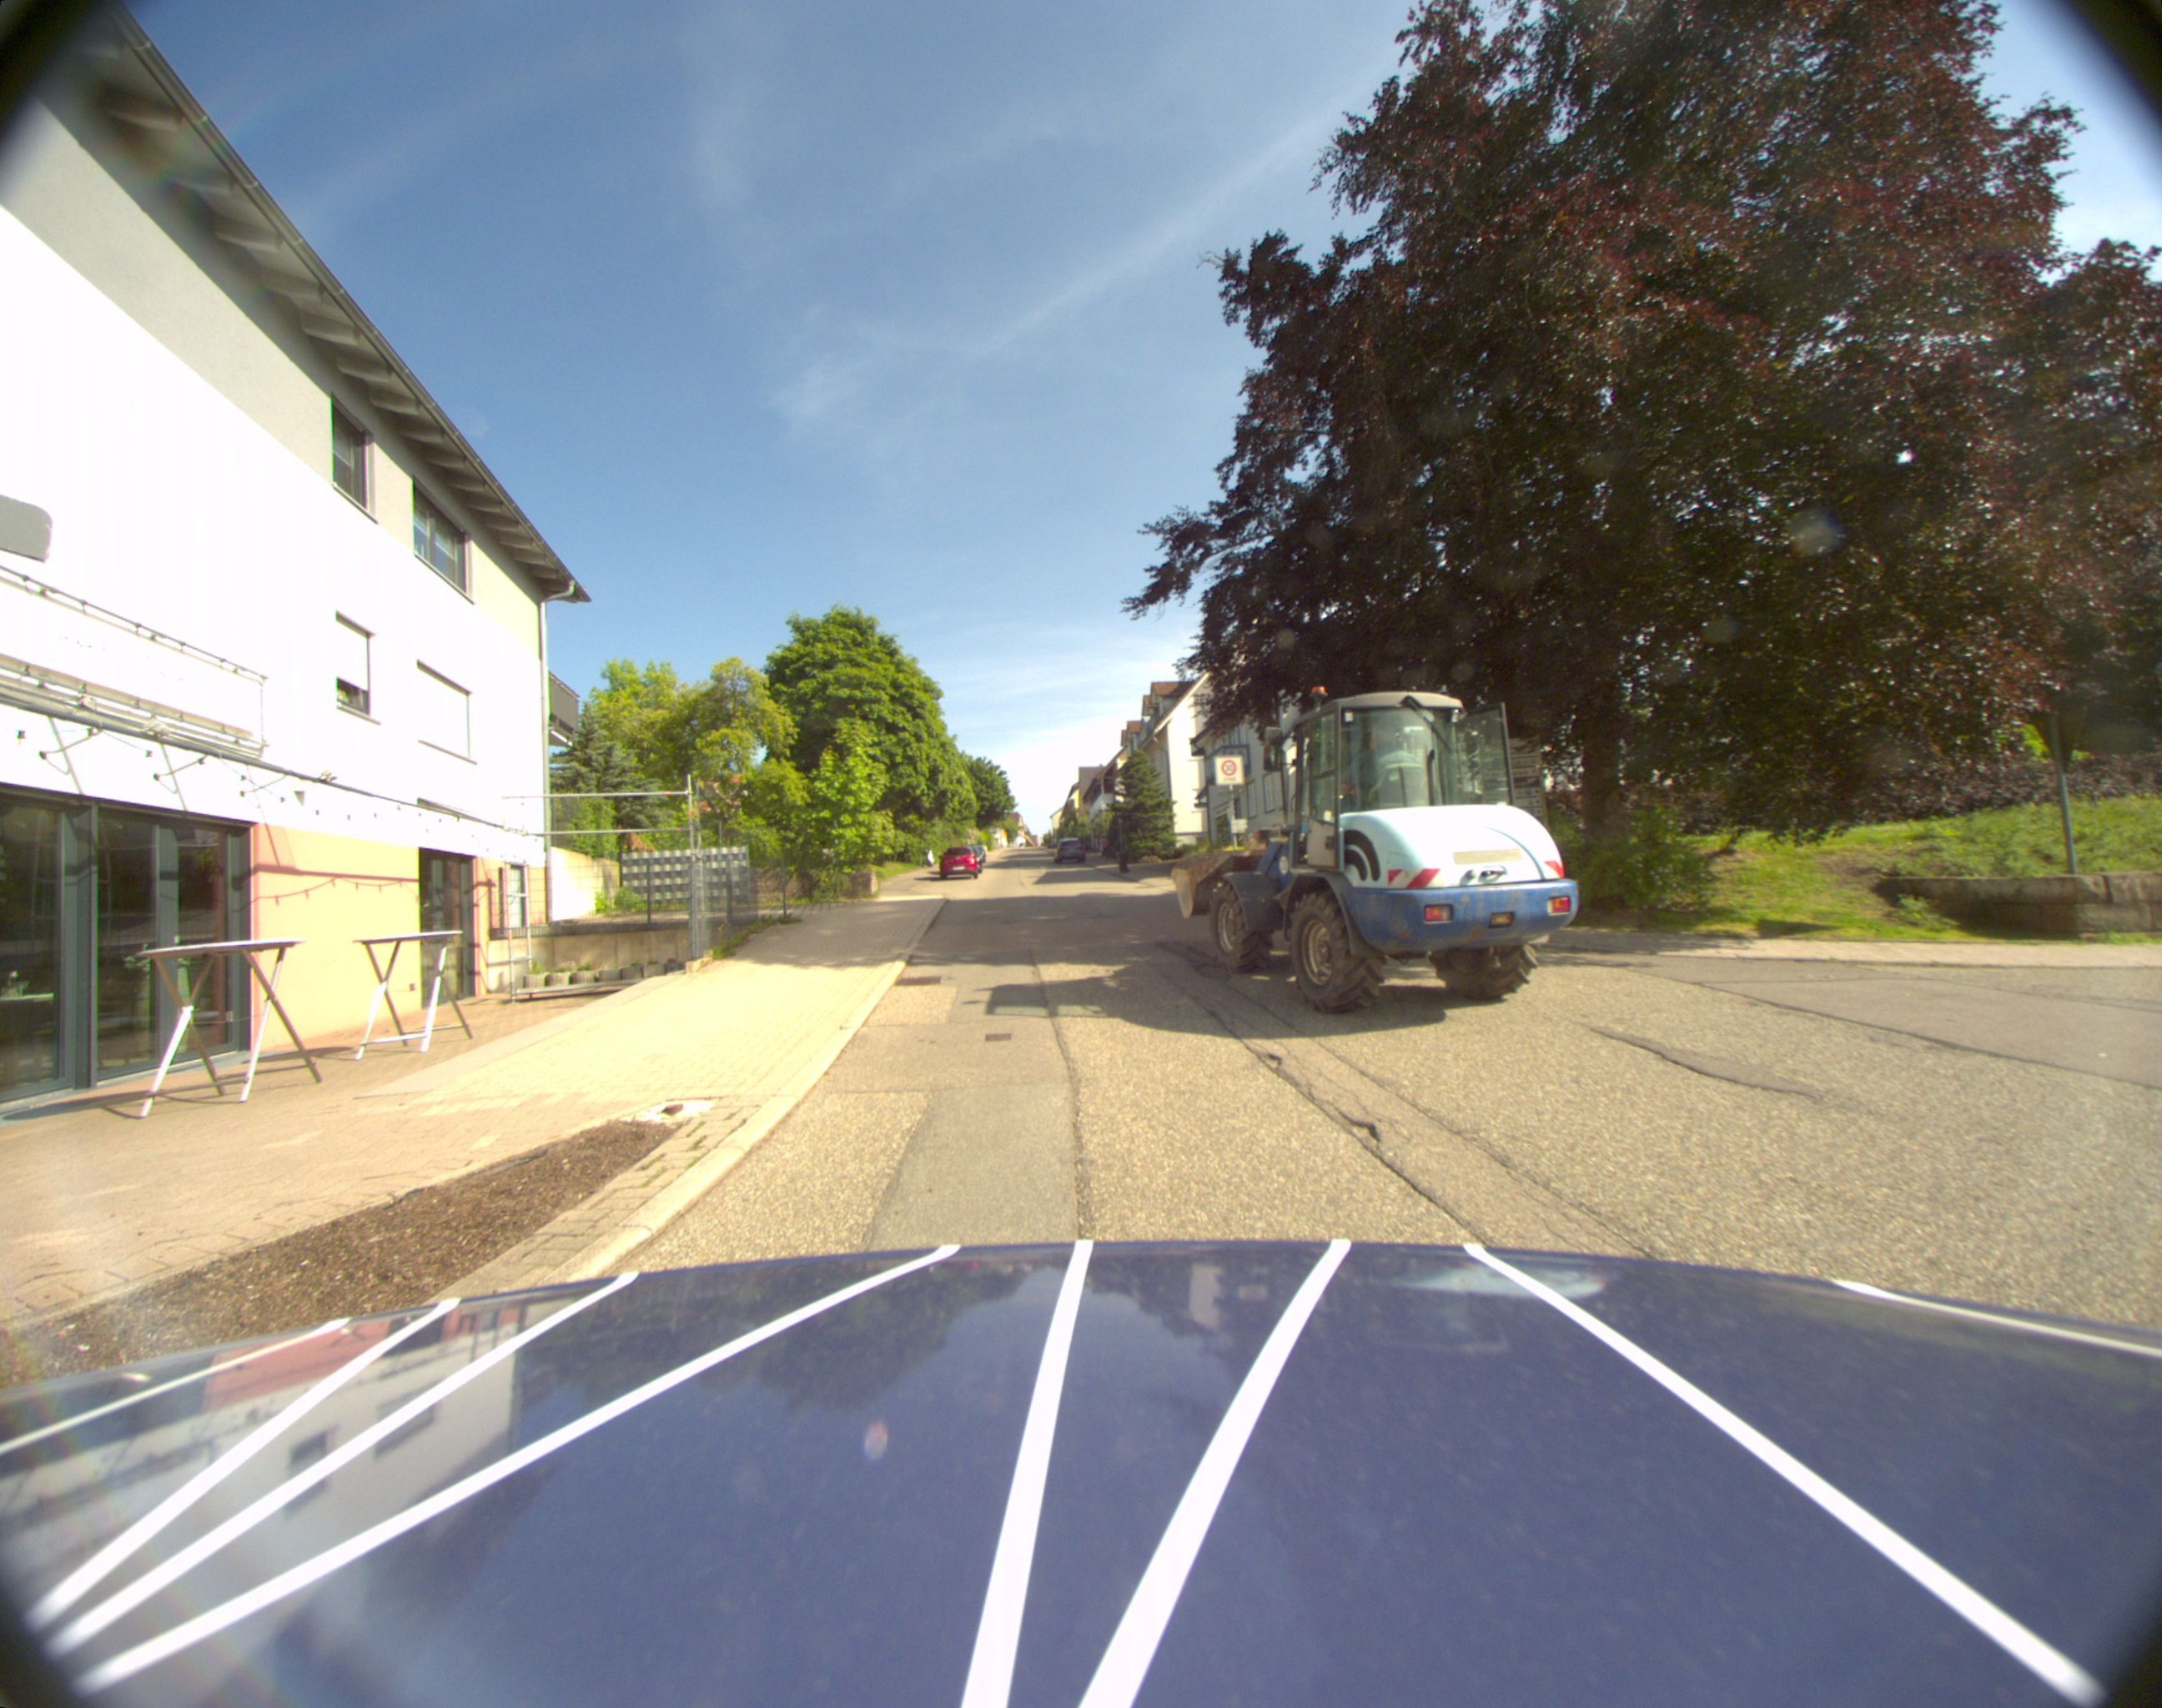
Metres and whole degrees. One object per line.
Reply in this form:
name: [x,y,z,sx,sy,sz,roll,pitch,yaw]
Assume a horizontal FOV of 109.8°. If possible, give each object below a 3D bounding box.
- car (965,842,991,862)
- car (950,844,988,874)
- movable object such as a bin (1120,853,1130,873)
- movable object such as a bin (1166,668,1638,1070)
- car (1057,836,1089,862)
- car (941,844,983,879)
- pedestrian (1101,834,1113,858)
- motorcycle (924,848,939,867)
car: [-7.991,-0.185,59.227,1.776,1.462,3.808,-3,1,-5]
car: [-5.978,0.217,40.824,1.776,1.462,3.808,-3,1,-5]
movable object such as a bin: [1.897,0.377,33.071,0.351,0.859,0.395,-2,1,-5]
movable object such as a bin: [2.628,0.040,7.890,2.000,2.754,5.099,-2,1,-10]
car: [-0.607,-0.369,52.066,1.808,1.592,3.808,-3,1,-5]
car: [-5.460,0.300,35.193,1.624,1.489,3.808,-3,1,-5]
pedestrian: [1.735,-0.509,50.587,0.668,1.566,0.780,-2,2,6]
motorcycle: [-9.823,0.206,49.919,0.785,1.175,2.186,-2,1,-7]
